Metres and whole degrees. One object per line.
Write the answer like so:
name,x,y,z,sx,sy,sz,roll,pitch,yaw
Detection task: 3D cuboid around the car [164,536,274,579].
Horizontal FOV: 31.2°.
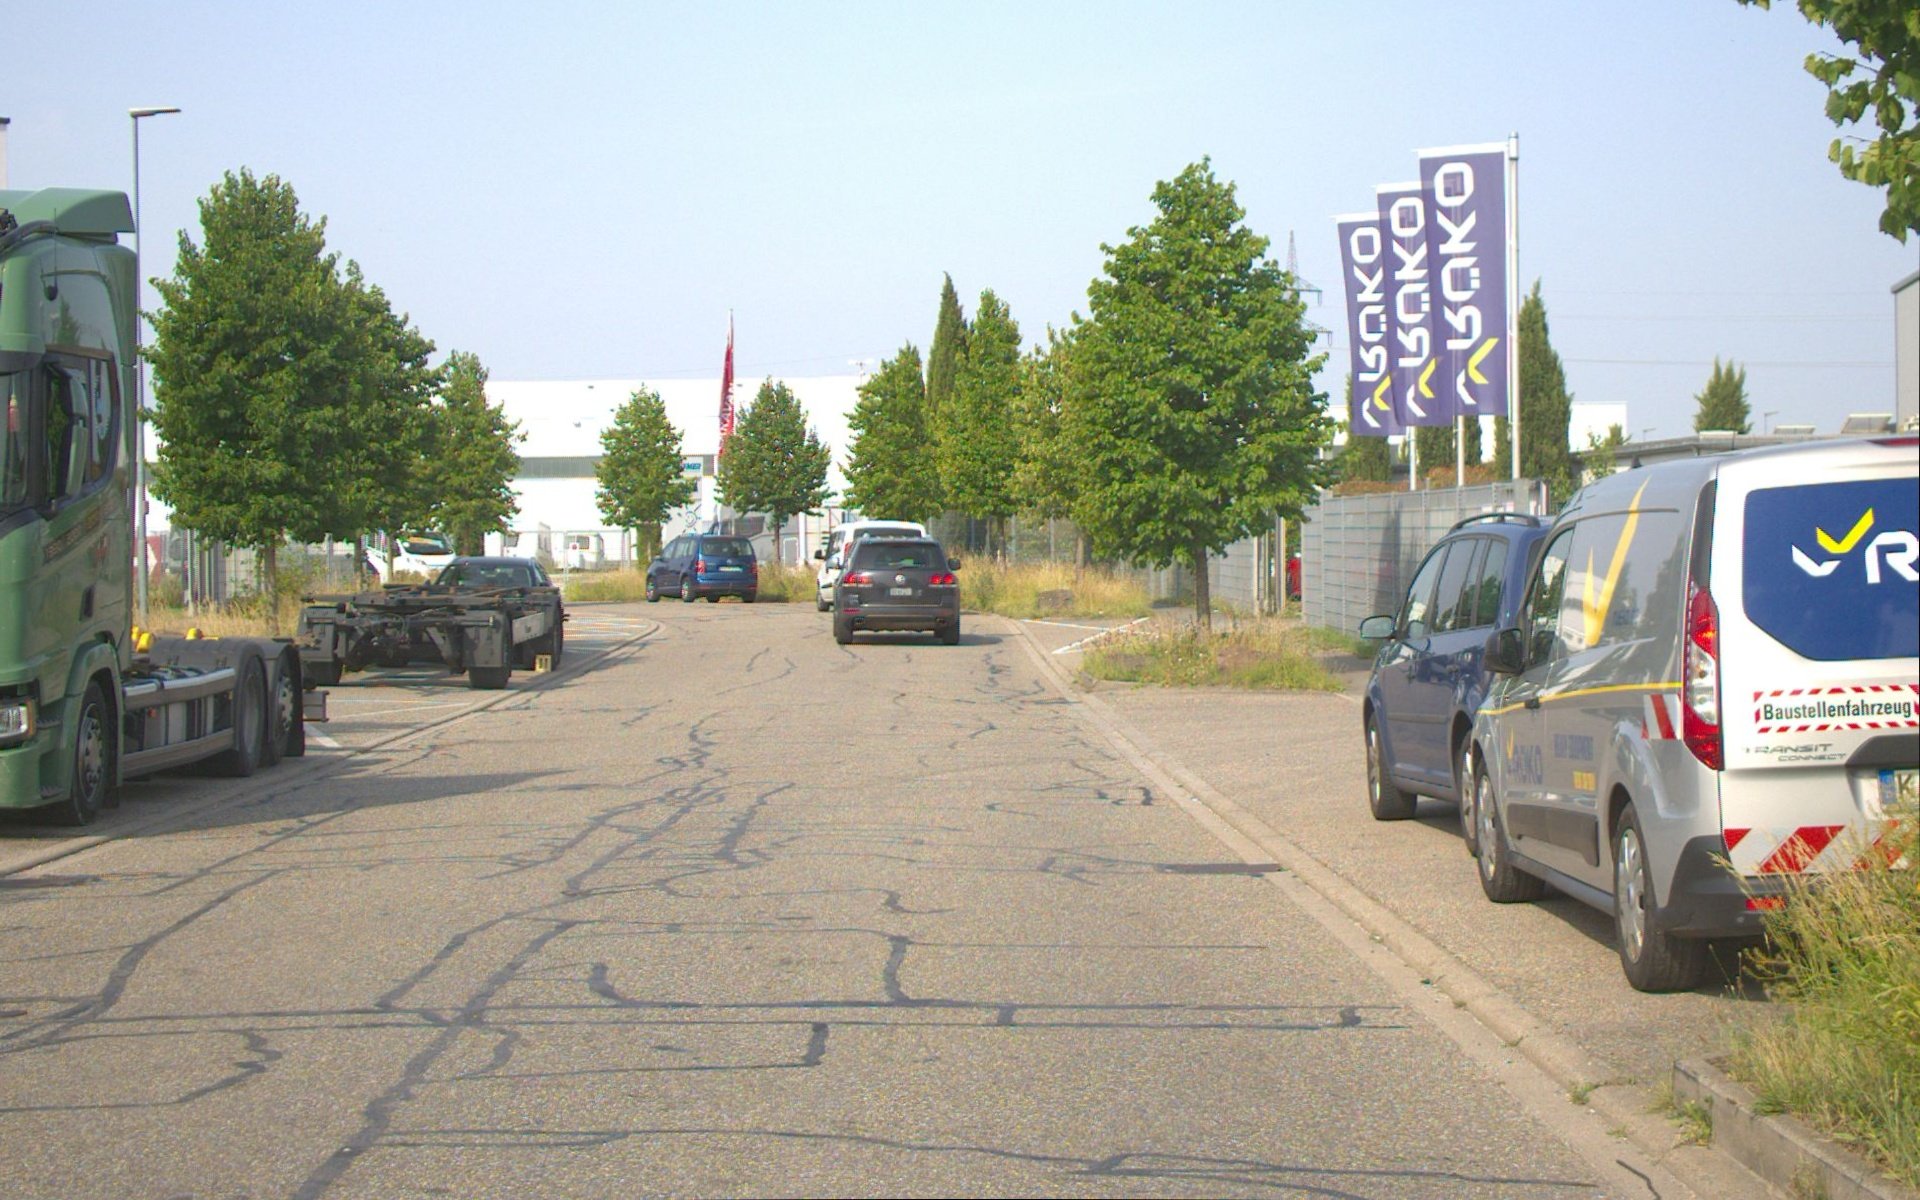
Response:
car,-25.841,-1.483,120.031,2.167,1.471,3.998,0,1,14

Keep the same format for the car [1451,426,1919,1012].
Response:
car,3.136,0.354,12.761,1.993,1.783,4.600,0,0,0

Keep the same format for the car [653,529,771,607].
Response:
car,-6.059,-0.803,83.685,1.993,1.798,4.001,1,1,-17

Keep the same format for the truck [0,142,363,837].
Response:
truck,-6.330,-0.668,24.057,2.455,3.868,9.803,1,0,0

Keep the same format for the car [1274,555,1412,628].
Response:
car,7.580,-0.192,68.426,1.880,1.353,4.774,-1,1,-4

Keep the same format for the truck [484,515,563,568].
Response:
truck,-19.033,-2.574,150.173,2.450,2.257,8.002,0,1,0

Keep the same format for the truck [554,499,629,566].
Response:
truck,-16.047,-2.954,150.140,2.450,2.816,8.002,0,1,0

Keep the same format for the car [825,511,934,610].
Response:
car,-1.643,-0.812,68.696,1.993,1.893,4.468,0,1,-4

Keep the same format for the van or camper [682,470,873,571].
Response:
van or camper,-5.404,-2.277,100.419,2.349,2.838,7.342,0,1,-32

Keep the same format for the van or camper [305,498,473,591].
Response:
van or camper,-18.741,-1.825,112.498,2.331,2.933,6.969,-1,1,-38

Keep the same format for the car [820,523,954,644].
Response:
car,-1.130,-0.288,54.232,1.993,1.798,4.000,1,1,-1

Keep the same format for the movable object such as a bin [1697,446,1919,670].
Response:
movable object such as a bin,11.122,-0.565,44.841,1.886,2.742,5.160,-1,1,0

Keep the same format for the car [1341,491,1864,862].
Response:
car,3.218,0.347,18.069,1.825,1.714,4.249,0,0,-2

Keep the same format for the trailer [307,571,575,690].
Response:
trailer,-6.470,0.328,43.806,2.130,1.228,7.157,1,1,2
